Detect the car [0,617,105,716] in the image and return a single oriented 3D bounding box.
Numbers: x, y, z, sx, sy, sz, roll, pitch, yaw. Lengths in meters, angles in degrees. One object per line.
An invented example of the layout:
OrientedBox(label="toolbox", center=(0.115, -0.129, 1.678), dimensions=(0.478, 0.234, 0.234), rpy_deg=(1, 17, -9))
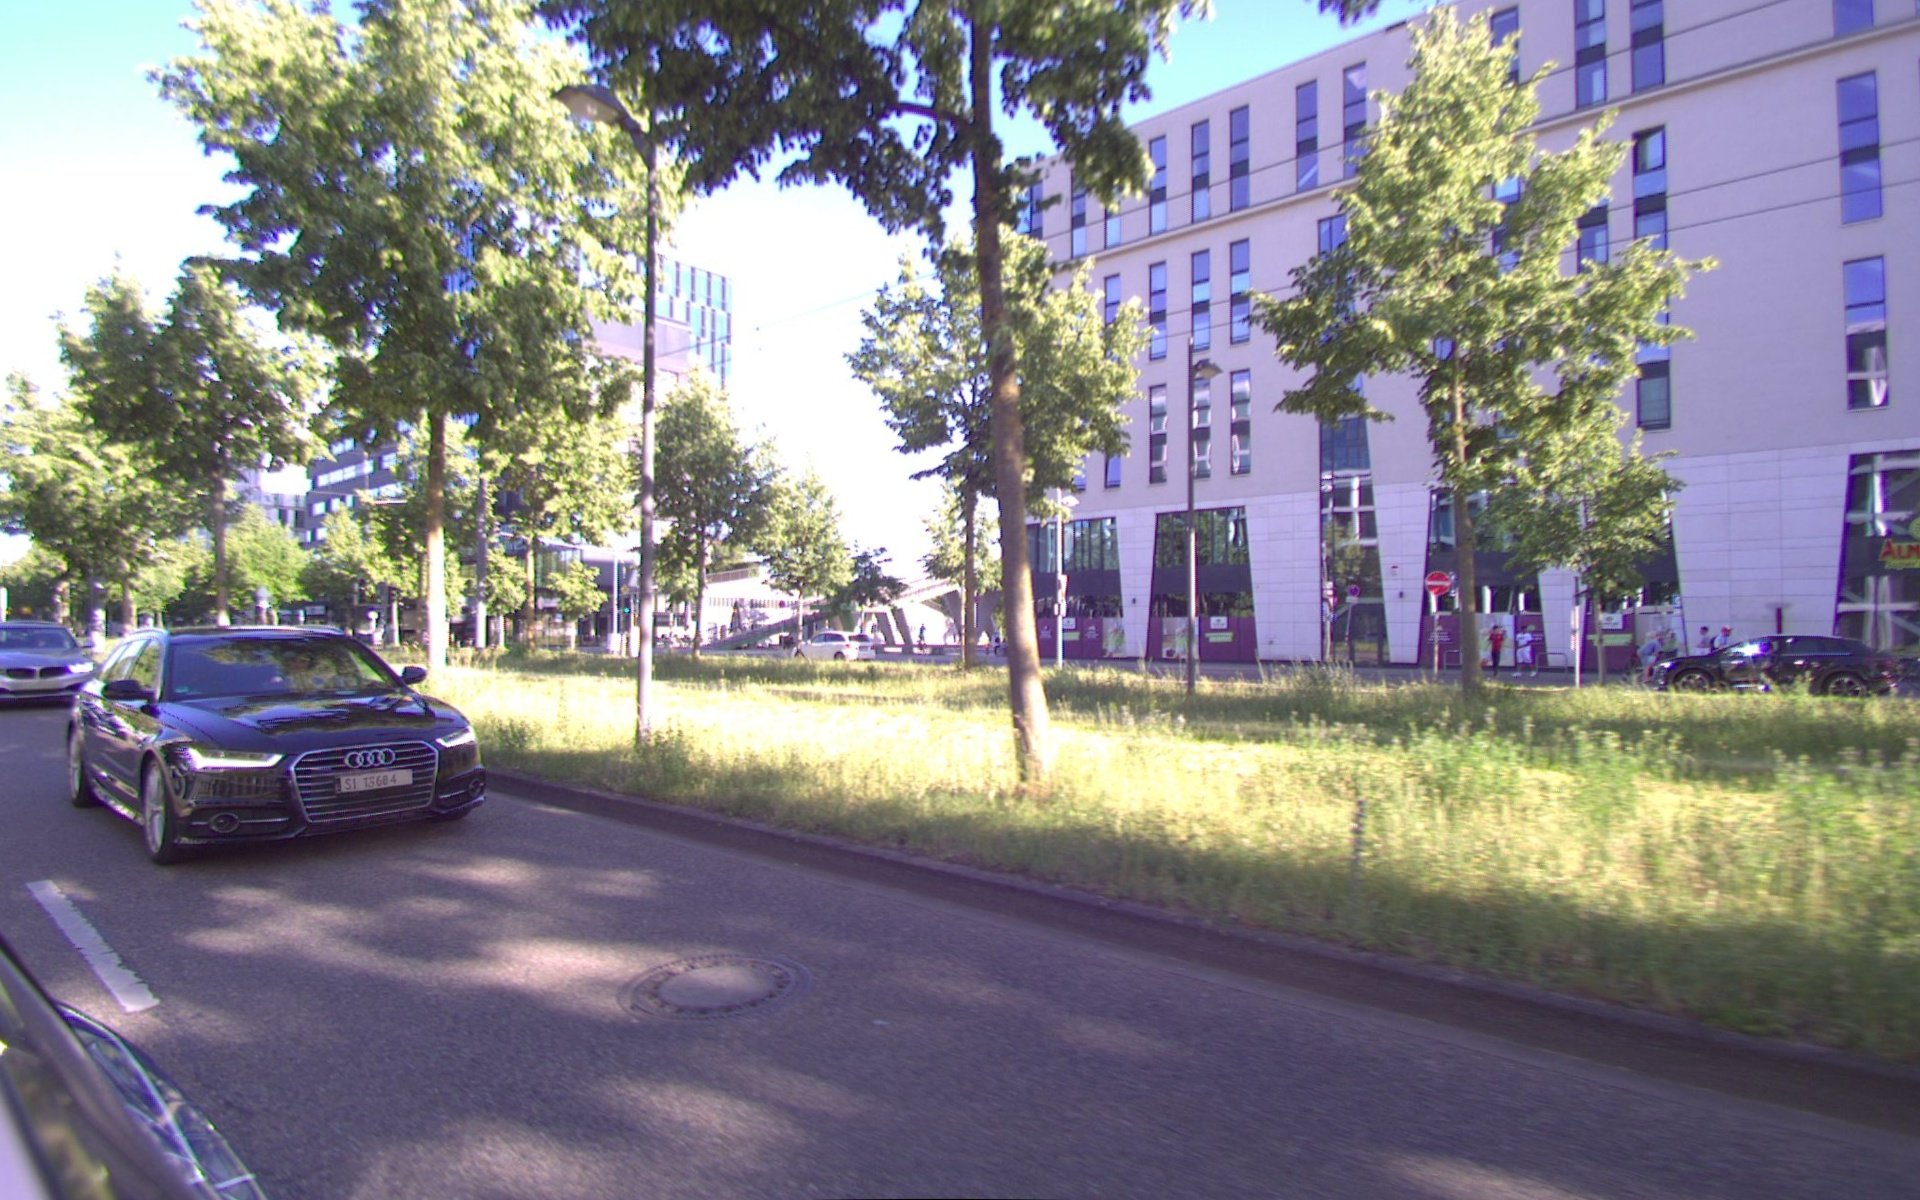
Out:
OrientedBox(label="car", center=(-16.961, 1.121, 18.197), dimensions=(4.276, 1.590, 1.862), rpy_deg=(-1, 0, 42))

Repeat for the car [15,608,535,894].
OrientedBox(label="car", center=(-5.416, 0.897, 7.677), dimensions=(5.080, 1.492, 1.933), rpy_deg=(-3, -3, 40))

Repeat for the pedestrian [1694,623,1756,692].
OrientedBox(label="pedestrian", center=(20.274, 1.506, 26.818), dimensions=(1.222, 1.756, 0.834), rpy_deg=(-1, 0, 42))

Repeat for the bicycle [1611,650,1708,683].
OrientedBox(label="bicycle", center=(21.328, 2.015, 30.909), dimensions=(0.653, 0.854, 2.340), rpy_deg=(-1, 0, -39))

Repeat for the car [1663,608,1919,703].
OrientedBox(label="car", center=(19.279, 1.247, 23.652), dimensions=(4.549, 2.029, 1.974), rpy_deg=(-2, -2, 39))

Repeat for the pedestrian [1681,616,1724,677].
OrientedBox(label="pedestrian", center=(23.449, 1.460, 31.965), dimensions=(0.964, 1.869, 0.649), rpy_deg=(-1, 0, 45))

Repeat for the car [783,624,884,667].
OrientedBox(label="car", center=(-5.751, 2.016, 45.841), dimensions=(4.416, 1.822, 2.079), rpy_deg=(-1, 0, 39))

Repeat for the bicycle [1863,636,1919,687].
OrientedBox(label="bicycle", center=(25.706, 1.644, 27.006), dimensions=(0.653, 1.335, 2.338), rpy_deg=(-1, 0, -42))

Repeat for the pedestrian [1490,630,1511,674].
OrientedBox(label="pedestrian", center=(18.457, 1.758, 34.557), dimensions=(0.459, 1.470, 0.595), rpy_deg=(-1, 0, 44))

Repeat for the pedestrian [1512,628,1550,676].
OrientedBox(label="pedestrian", center=(19.209, 1.724, 34.029), dimensions=(0.964, 1.548, 0.649), rpy_deg=(-1, 0, 45))
